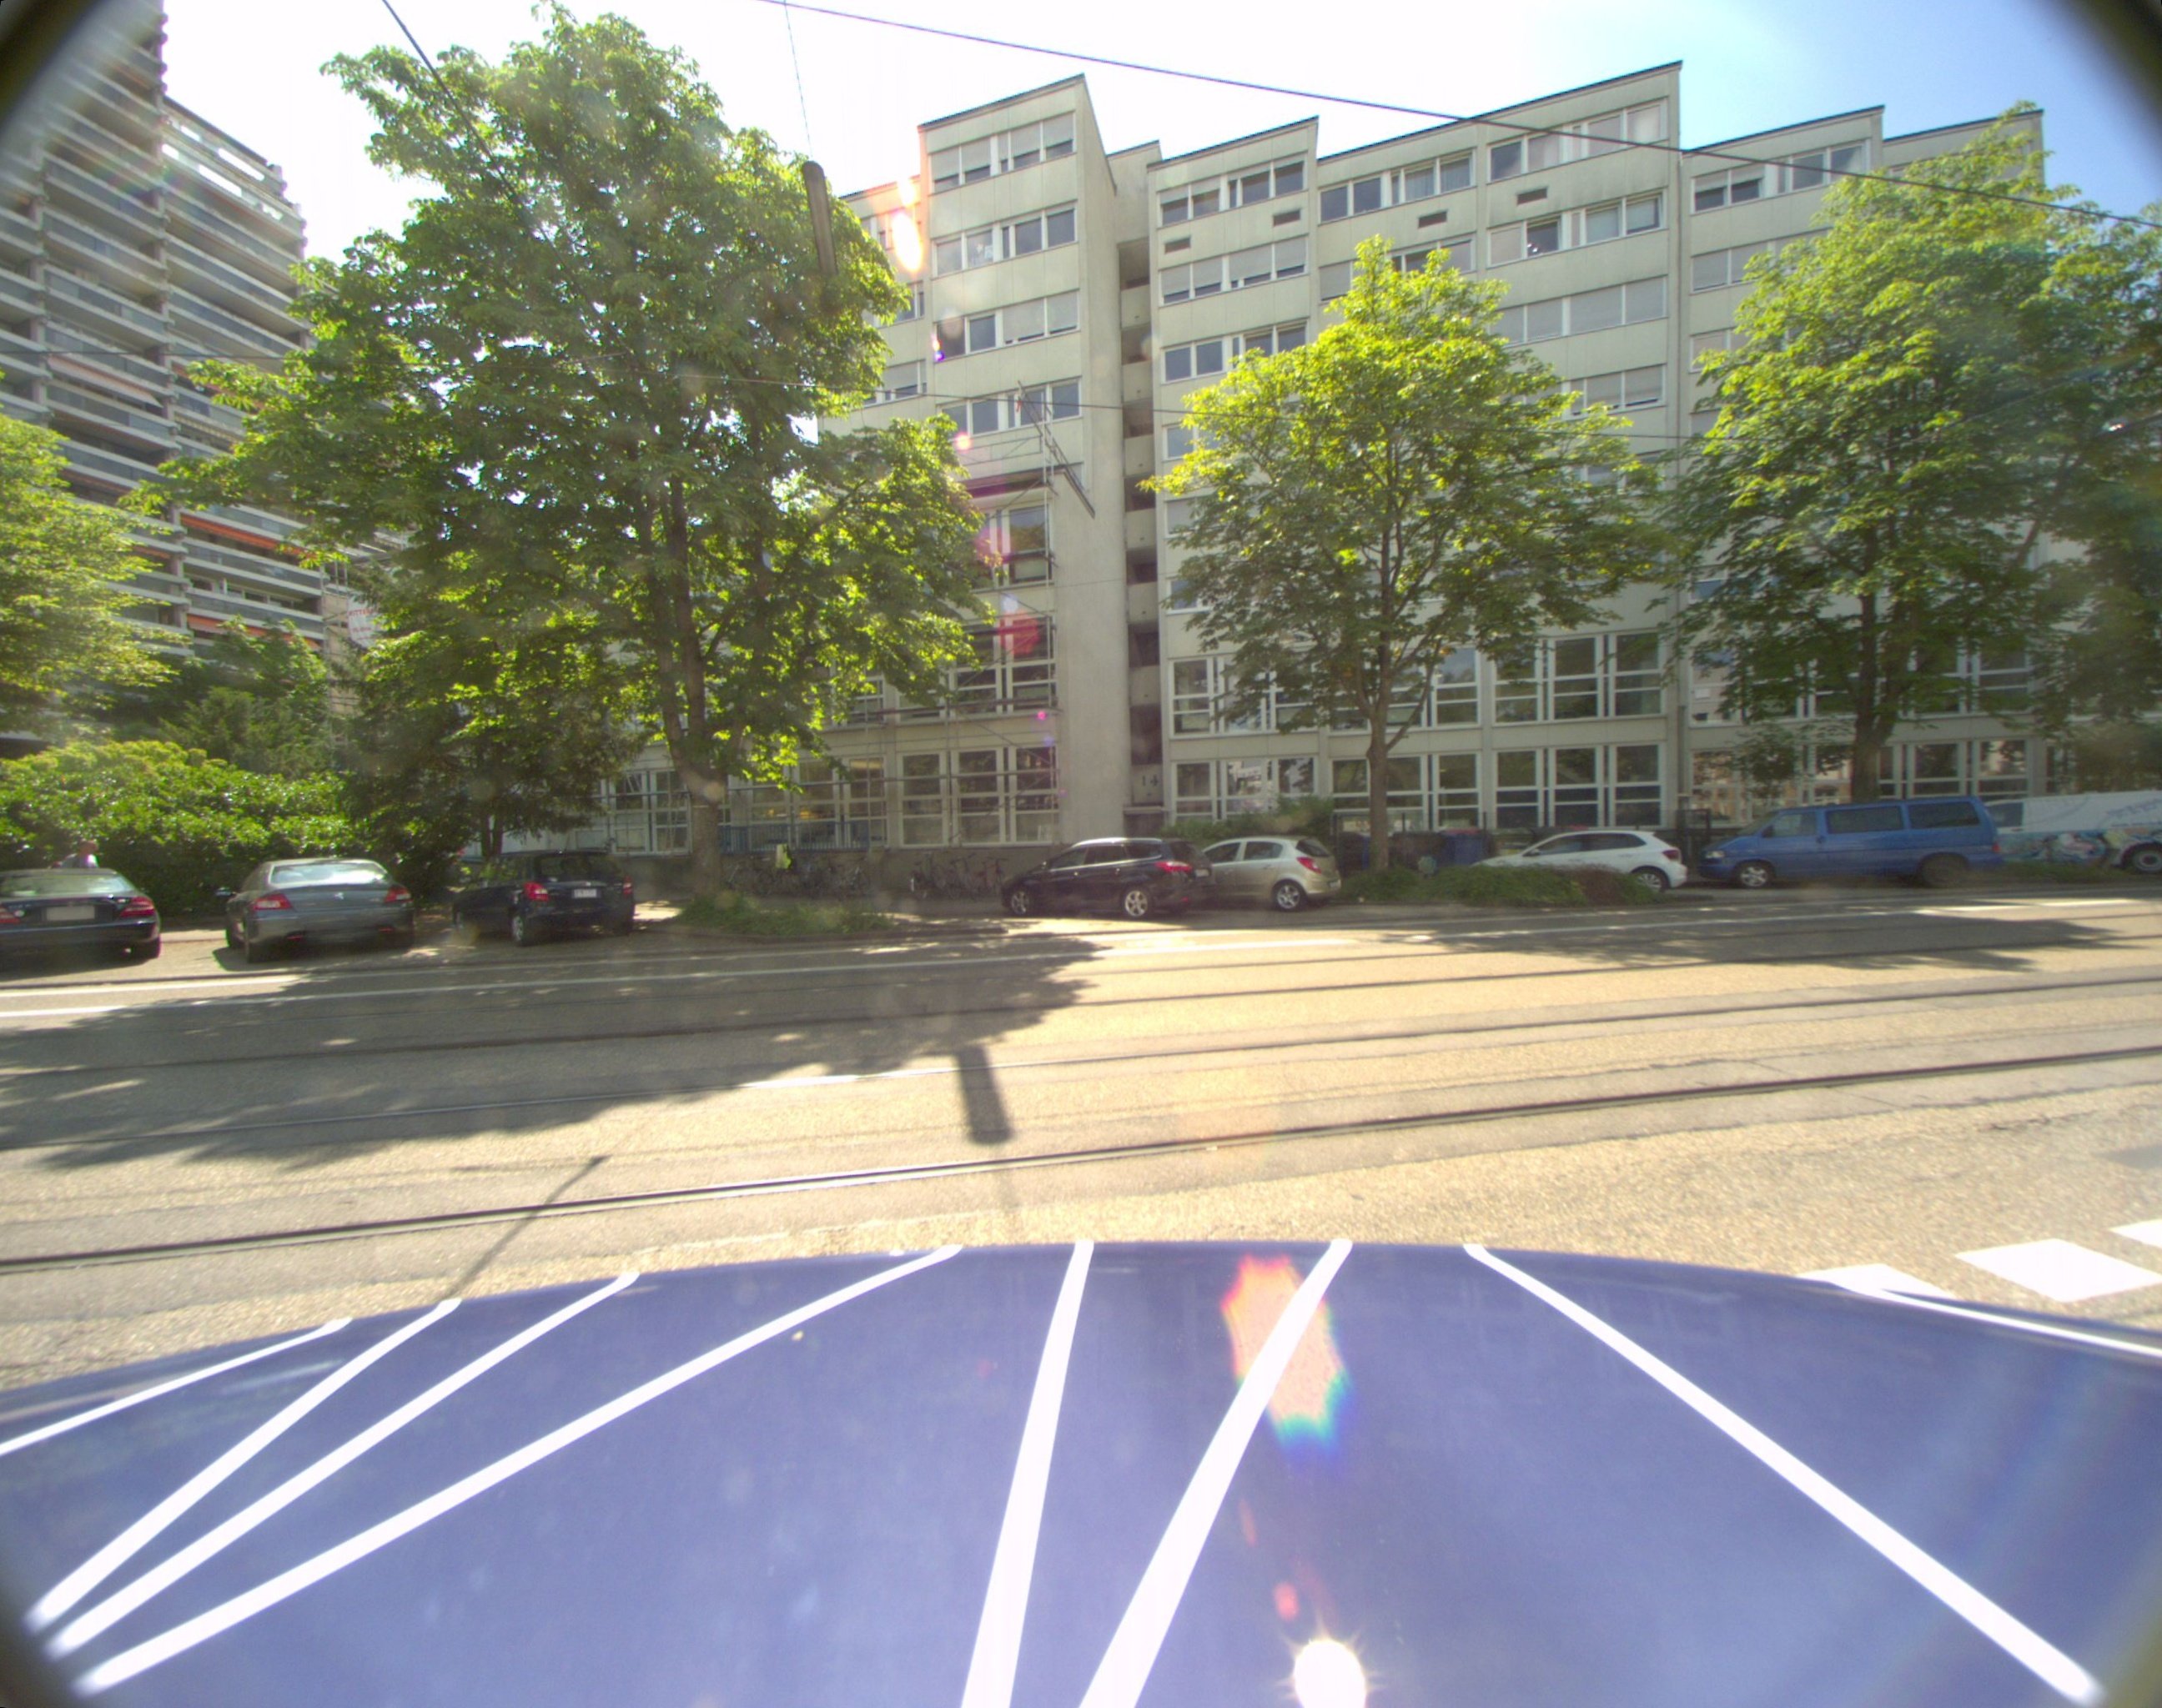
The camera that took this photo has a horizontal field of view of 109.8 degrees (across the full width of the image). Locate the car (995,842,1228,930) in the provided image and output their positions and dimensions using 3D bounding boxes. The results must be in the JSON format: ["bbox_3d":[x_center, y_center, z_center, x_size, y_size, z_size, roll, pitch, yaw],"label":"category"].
[{"bbox_3d":[0.532,0.574,14.836,4.186,1.461,1.757,-1,1,33],"label":"car"}]

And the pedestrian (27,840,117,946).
[{"bbox_3d":[-18.177,0.680,13.706,0.577,1.864,0.716,-1,1,4],"label":"pedestrian"}]

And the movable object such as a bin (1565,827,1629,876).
[{"bbox_3d":[15.310,-0.082,22.563,1.181,1.390,1.037,-2,1,-2],"label":"movable object such as a bin"}]

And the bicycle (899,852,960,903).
[{"bbox_3d":[-3.963,0.594,20.020,0.567,1.230,1.946,-1,1,21],"label":"bicycle"}]

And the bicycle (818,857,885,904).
[{"bbox_3d":[-6.015,0.680,20.000,0.567,1.124,1.946,-1,1,21],"label":"bicycle"}]

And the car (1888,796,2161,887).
[{"bbox_3d":[23.189,-0.292,18.553,4.617,2.002,2.004,-1,1,42],"label":"car"}]

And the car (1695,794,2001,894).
[{"bbox_3d":[17.125,-0.197,17.384,4.617,2.002,2.004,-1,1,34],"label":"car"}]

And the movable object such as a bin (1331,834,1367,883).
[{"bbox_3d":[7.985,0.137,22.629,0.803,1.397,0.767,-2,1,4],"label":"movable object such as a bin"}]

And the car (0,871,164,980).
[{"bbox_3d":[-15.577,0.979,11.522,4.011,1.365,1.633,-1,2,33],"label":"car"}]

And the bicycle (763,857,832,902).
[{"bbox_3d":[-7.662,0.662,20.661,0.567,1.124,1.946,-1,1,21],"label":"bicycle"}]

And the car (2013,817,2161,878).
[{"bbox_3d":[26.679,-0.178,19.094,1.674,1.477,3.988,-3,1,-44],"label":"car"}]

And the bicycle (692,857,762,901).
[{"bbox_3d":[-9.868,0.681,21.283,0.567,1.124,1.930,-1,1,18],"label":"bicycle"}]

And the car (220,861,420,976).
[{"bbox_3d":[-12.142,0.897,12.050,4.011,1.454,1.823,-1,1,40],"label":"car"}]

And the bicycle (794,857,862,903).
[{"bbox_3d":[-6.732,0.674,20.334,0.567,1.124,1.946,-1,1,21],"label":"bicycle"}]

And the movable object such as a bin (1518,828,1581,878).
[{"bbox_3d":[13.789,-0.034,22.382,1.181,1.390,1.037,-2,1,-2],"label":"movable object such as a bin"}]

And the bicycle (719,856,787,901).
[{"bbox_3d":[-9.097,0.658,21.156,0.567,1.124,1.930,-1,1,18],"label":"bicycle"}]

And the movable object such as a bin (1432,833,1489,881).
[{"bbox_3d":[10.892,0.091,21.833,1.077,1.323,0.970,-2,1,-9],"label":"movable object such as a bin"}]

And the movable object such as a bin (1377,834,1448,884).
[{"bbox_3d":[9.352,0.140,21.501,1.452,1.323,1.125,-2,1,-9],"label":"movable object such as a bin"}]

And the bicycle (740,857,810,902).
[{"bbox_3d":[-8.378,0.673,20.880,0.567,1.124,1.930,-1,1,21],"label":"bicycle"}]

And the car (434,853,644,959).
[{"bbox_3d":[-9.137,0.784,12.758,3.566,1.508,1.653,-1,1,33],"label":"car"}]

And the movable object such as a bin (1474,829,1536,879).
[{"bbox_3d":[12.382,0.009,22.211,1.181,1.390,1.037,-2,1,-2],"label":"movable object such as a bin"}]

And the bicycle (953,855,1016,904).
[{"bbox_3d":[-2.426,0.631,19.464,0.567,1.124,2.238,-1,1,21],"label":"bicycle"}]

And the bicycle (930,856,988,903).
[{"bbox_3d":[-3.179,0.650,19.940,0.567,1.124,1.946,-1,1,21],"label":"bicycle"}]

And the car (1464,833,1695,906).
[{"bbox_3d":[10.564,0.301,16.348,3.970,1.405,1.718,-1,1,33],"label":"car"}]

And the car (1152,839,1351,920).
[{"bbox_3d":[3.439,0.476,15.442,3.530,1.454,1.757,-1,1,33],"label":"car"}]
